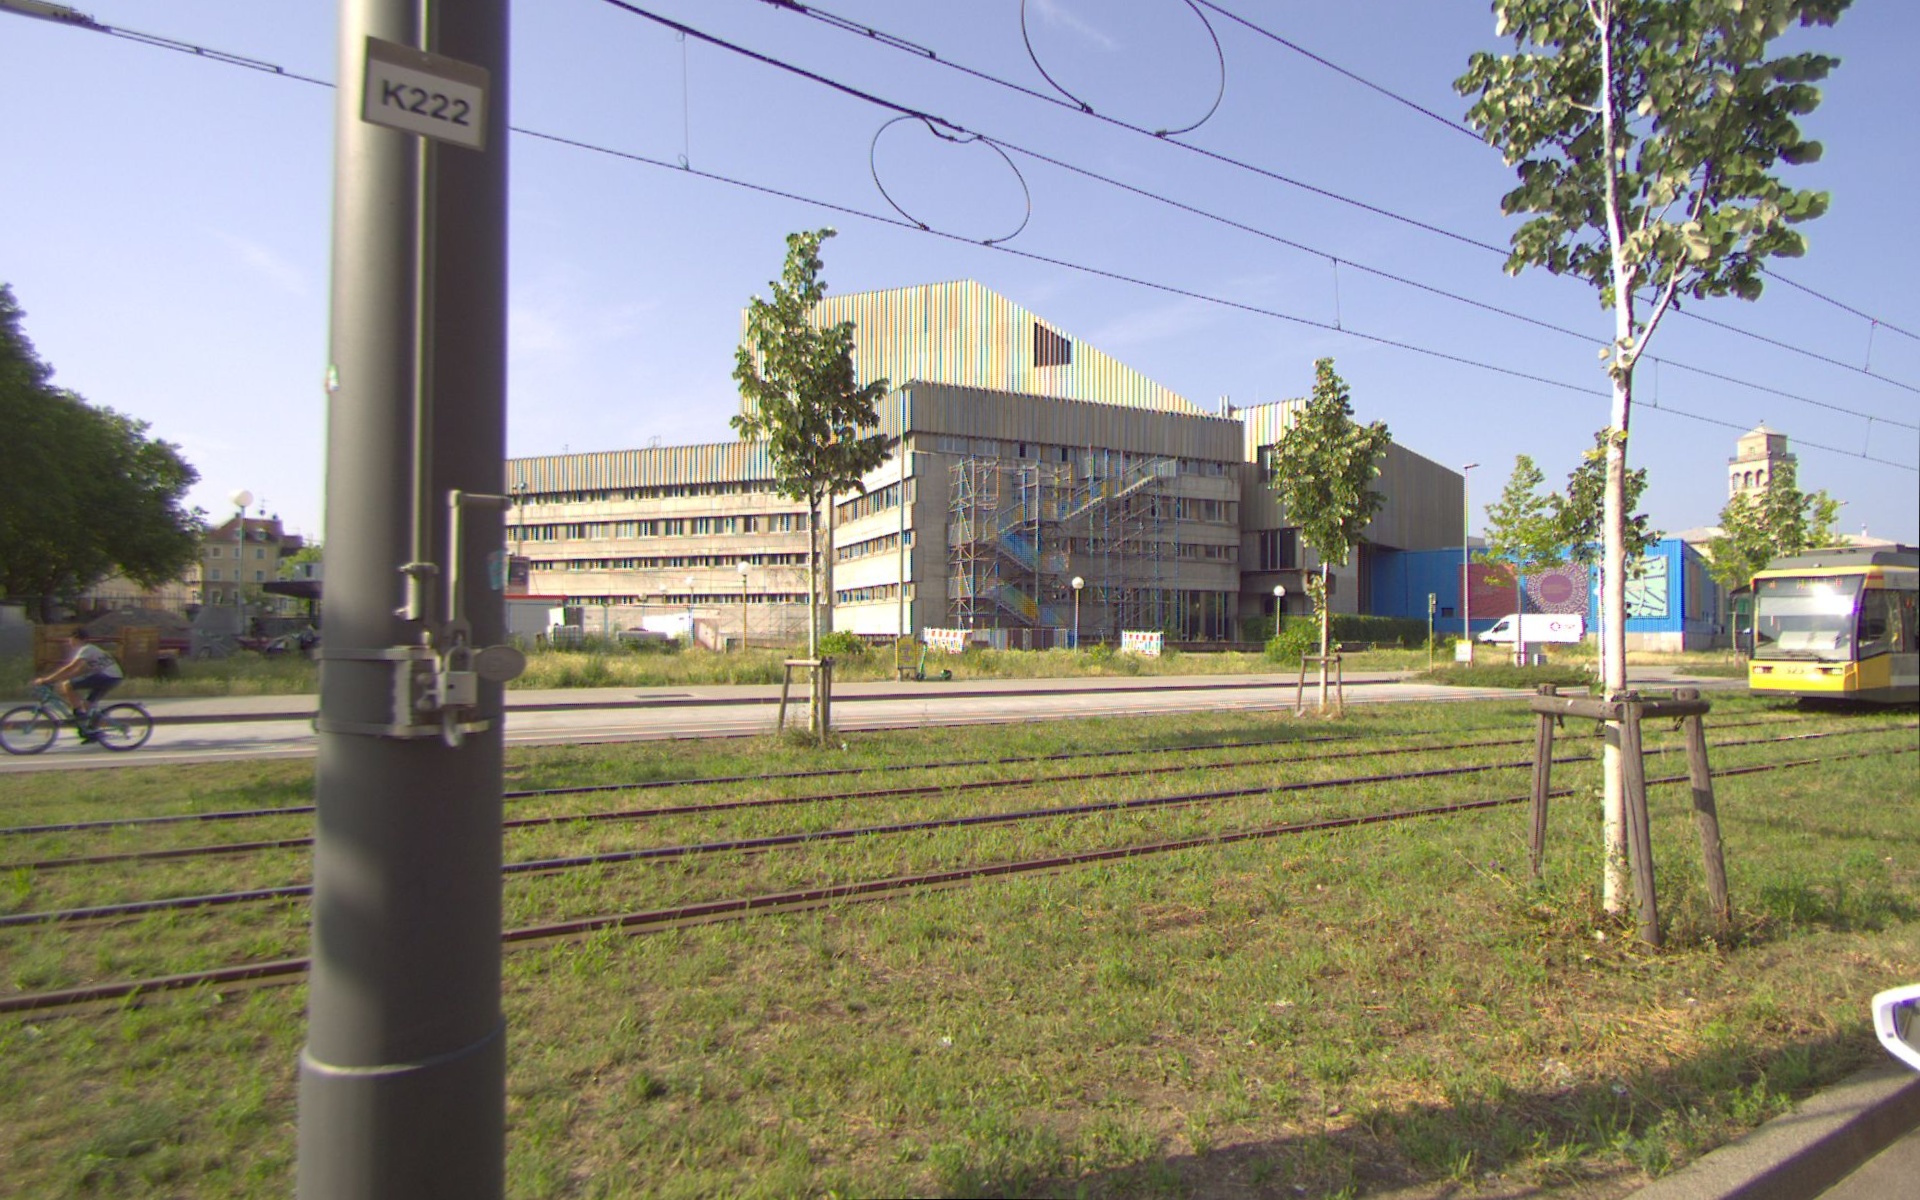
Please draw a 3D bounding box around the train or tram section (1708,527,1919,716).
[{"bbox_3d":[22.397,0.646,23.713,12.328,3.633,2.885,2,-3,-30],"label":"train or tram section"}]

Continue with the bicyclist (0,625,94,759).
[{"bbox_3d":[-12.463,1.235,13.638,0.908,1.758,0.644,2,-4,-31],"label":"bicyclist"}]

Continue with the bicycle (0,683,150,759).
[{"bbox_3d":[-12.414,1.629,13.662,2.054,0.973,0.659,2,-4,-31],"label":"bicycle"}]

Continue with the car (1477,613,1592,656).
[{"bbox_3d":[40.813,2.429,71.485,6.792,2.674,2.503,2,0,40],"label":"car"}]
